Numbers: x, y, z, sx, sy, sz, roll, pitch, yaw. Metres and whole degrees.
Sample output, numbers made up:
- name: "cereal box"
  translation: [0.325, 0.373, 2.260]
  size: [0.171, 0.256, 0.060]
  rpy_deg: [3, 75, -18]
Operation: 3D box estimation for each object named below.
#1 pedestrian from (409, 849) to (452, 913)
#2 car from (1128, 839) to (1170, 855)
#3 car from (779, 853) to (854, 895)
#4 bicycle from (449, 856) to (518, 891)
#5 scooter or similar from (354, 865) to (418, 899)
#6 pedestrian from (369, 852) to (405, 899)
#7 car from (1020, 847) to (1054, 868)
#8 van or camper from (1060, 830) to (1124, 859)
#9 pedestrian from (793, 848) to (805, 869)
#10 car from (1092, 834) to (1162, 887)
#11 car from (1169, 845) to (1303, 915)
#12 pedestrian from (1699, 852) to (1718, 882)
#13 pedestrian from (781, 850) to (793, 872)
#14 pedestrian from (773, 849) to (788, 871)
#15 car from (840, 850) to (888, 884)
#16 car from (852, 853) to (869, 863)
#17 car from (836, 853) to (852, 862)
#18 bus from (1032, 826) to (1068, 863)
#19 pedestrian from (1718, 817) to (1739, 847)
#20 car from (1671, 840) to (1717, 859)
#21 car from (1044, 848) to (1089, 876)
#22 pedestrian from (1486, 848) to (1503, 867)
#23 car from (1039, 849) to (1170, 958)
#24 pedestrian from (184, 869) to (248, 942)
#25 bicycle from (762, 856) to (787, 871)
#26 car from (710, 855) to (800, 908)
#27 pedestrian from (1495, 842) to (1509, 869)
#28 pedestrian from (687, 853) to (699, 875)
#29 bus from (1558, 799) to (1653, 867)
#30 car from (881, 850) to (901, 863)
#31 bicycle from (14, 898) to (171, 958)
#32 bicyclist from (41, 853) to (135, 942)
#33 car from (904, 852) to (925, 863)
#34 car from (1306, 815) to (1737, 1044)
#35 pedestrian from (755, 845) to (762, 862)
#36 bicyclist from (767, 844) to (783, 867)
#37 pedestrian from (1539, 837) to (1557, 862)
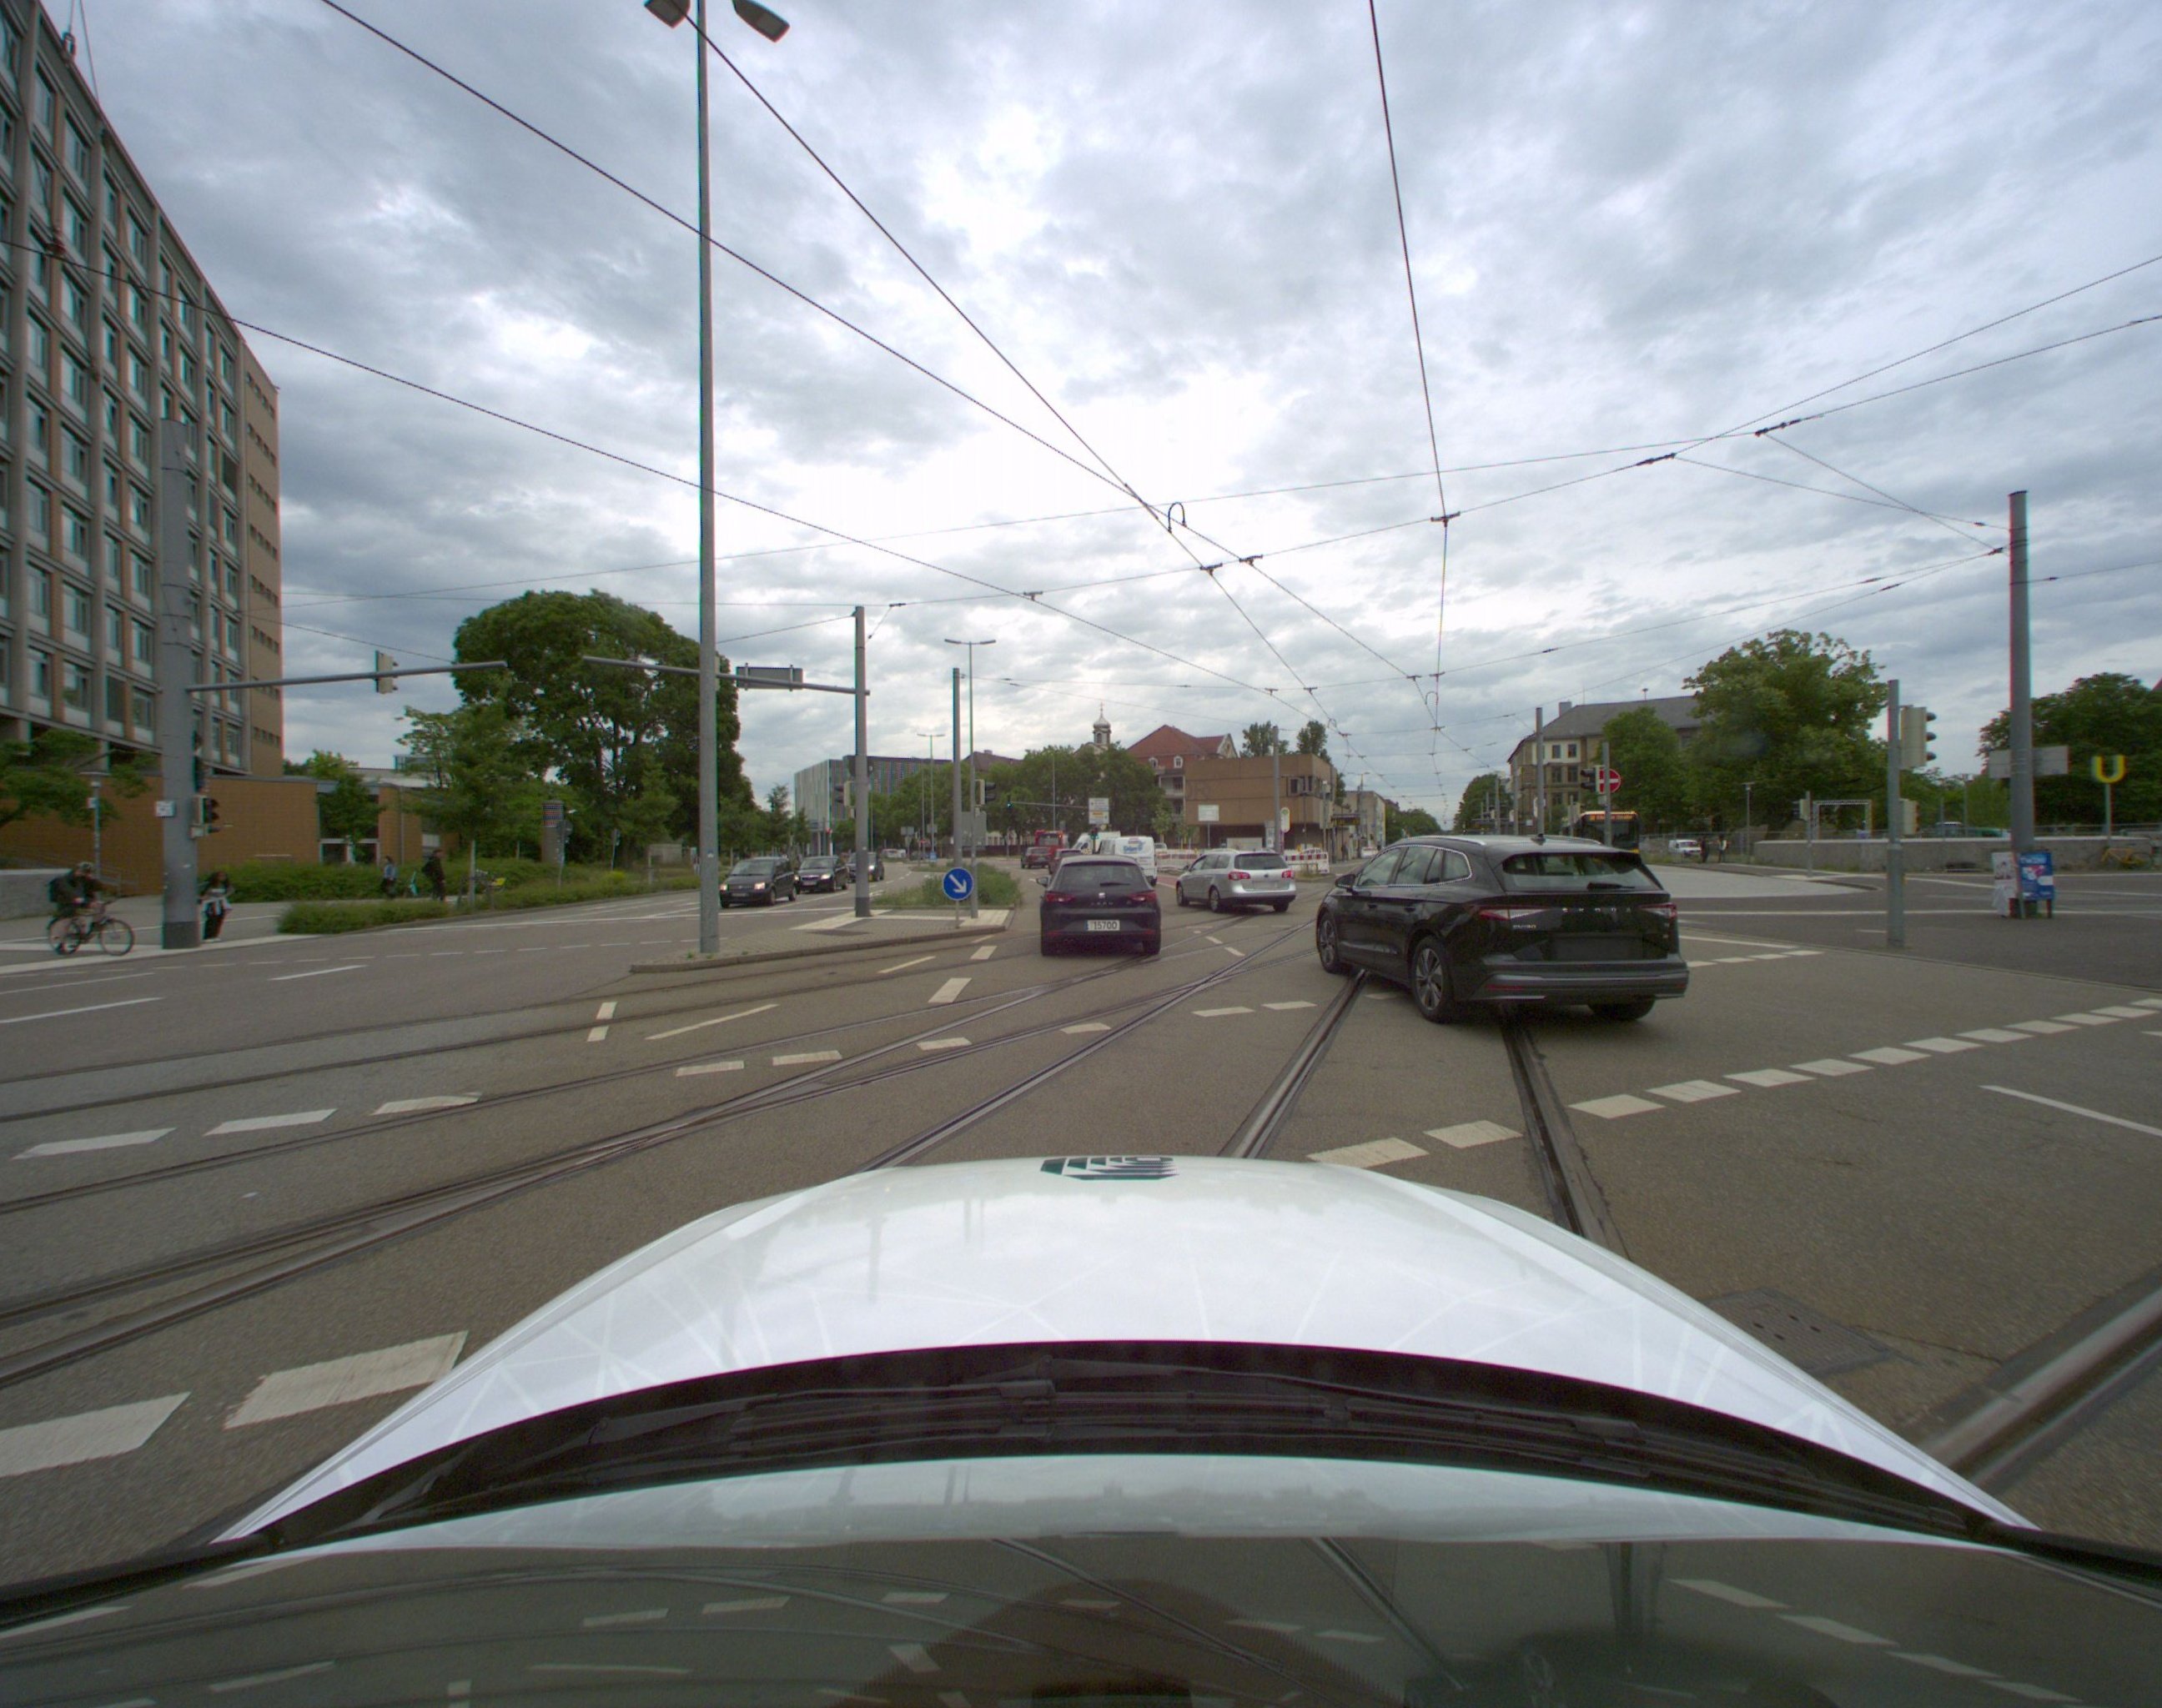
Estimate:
- name: "pedestrian"
  translation: [-20.639, 0.839, 25.855]
  size: [0.816, 1.980, 0.658]
  rpy_deg: [-1, 0, -1]
- name: "car"
  translation: [8.540, -0.820, 102.107]
  size: [5.020, 1.865, 1.980]
  rpy_deg: [0, -3, -31]
- name: "car"
  translation: [-10.704, 0.753, 33.284]
  size: [1.868, 1.508, 4.471]
  rpy_deg: [-3, 0, -5]
- name: "bicycle"
  translation: [-25.095, 0.796, 34.282]
  size: [0.840, 1.449, 2.265]
  rpy_deg: [0, 0, 19]
- name: "scooter or similar"
  translation: [-27.245, 1.087, 31.959]
  size: [1.775, 1.302, 0.626]
  rpy_deg: [0, 0, -18]
- name: "pedestrian"
  translation: [-26.205, 0.788, 30.766]
  size: [0.744, 1.733, 0.686]
  rpy_deg: [-1, 0, -1]
- name: "car"
  translation: [-3.491, 0.266, 63.557]
  size: [1.995, 1.566, 4.187]
  rpy_deg: [0, 0, -12]
- name: "van or camper"
  translation: [1.325, -1.085, 97.936]
  size: [7.175, 3.332, 2.848]
  rpy_deg: [0, -1, -31]
- name: "pedestrian"
  translation: [-24.717, 0.366, 71.313]
  size: [0.893, 1.842, 0.665]
  rpy_deg: [0, 0, -9]
- name: "car"
  translation: [1.799, 0.224, 33.704]
  size: [1.992, 2.019, 5.018]
  rpy_deg: [0, 0, -8]
- name: "car"
  translation: [3.656, 0.563, 20.129]
  size: [1.720, 1.482, 4.612]
  rpy_deg: [-1, 0, -10]
- name: "pedestrian"
  translation: [38.958, 0.783, 50.560]
  size: [0.816, 1.808, 1.027]
  rpy_deg: [0, 0, 29]
- name: "pedestrian"
  translation: [-24.519, 0.595, 67.899]
  size: [0.757, 1.842, 0.764]
  rpy_deg: [-2, 0, -9]
- name: "pedestrian"
  translation: [-25.532, 0.513, 69.229]
  size: [1.048, 1.842, 0.863]
  rpy_deg: [0, 0, -9]
- name: "car"
  translation: [-11.994, 0.672, 45.216]
  size: [1.869, 1.725, 4.701]
  rpy_deg: [-1, 0, -7]
- name: "car"
  translation: [-39.698, 0.711, 146.634]
  size: [2.006, 1.640, 3.962]
  rpy_deg: [-1, 0, -30]
- name: "car"
  translation: [-45.189, 0.748, 155.470]
  size: [2.007, 1.681, 3.971]
  rpy_deg: [-1, 0, -31]
- name: "bus"
  translation: [-2.888, -0.847, 80.227]
  size: [3.048, 3.297, 12.378]
  rpy_deg: [0, 0, 0]
- name: "pedestrian"
  translation: [39.823, -1.346, 50.105]
  size: [0.816, 1.853, 1.027]
  rpy_deg: [0, 0, 29]
- name: "car"
  translation: [55.605, -0.393, 73.981]
  size: [1.895, 1.662, 4.015]
  rpy_deg: [-1, 0, 14]
- name: "car"
  translation: [-0.932, 0.462, 49.898]
  size: [1.861, 1.600, 4.184]
  rpy_deg: [0, 0, -15]
- name: "pedestrian"
  translation: [30.221, 0.232, 59.519]
  size: [1.008, 1.402, 1.014]
  rpy_deg: [0, 0, 30]
- name: "car"
  translation: [0.220, 0.660, 13.030]
  size: [1.742, 1.464, 3.995]
  rpy_deg: [0, 0, -4]
- name: "pedestrian"
  translation: [-19.064, 1.111, 17.967]
  size: [0.577, 1.551, 0.749]
  rpy_deg: [-1, 0, -1]
- name: "bicycle"
  translation: [-24.758, 0.752, 65.818]
  size: [0.782, 1.159, 1.916]
  rpy_deg: [0, 0, 21]
- name: "car"
  translation: [-10.199, 0.812, 25.737]
  size: [1.616, 1.515, 3.658]
  rpy_deg: [-1, 0, -5]
- name: "pedestrian"
  translation: [29.117, 0.114, 56.300]
  size: [0.816, 1.808, 1.027]
  rpy_deg: [0, 0, 29]
- name: "pedestrian"
  translation: [-27.297, 0.705, 57.270]
  size: [0.561, 1.541, 0.753]
  rpy_deg: [0, 0, -10]
- name: "bus"
  translation: [29.163, -1.026, 45.867]
  size: [2.988, 3.268, 13.119]
  rpy_deg: [0, 0, 26]
- name: "car"
  translation: [-30.893, 0.453, 132.258]
  size: [2.006, 2.013, 3.961]
  rpy_deg: [-1, 0, -30]
- name: "bicycle"
  translation: [-19.108, 1.422, 15.768]
  size: [2.104, 1.028, 0.796]
  rpy_deg: [1, -1, 3]
- name: "bicyclist"
  translation: [-19.219, 0.821, 15.772]
  size: [0.809, 1.656, 0.794]
  rpy_deg: [1, 0, 3]
- name: "car"
  translation: [-25.148, 0.515, 122.757]
  size: [1.930, 1.684, 3.961]
  rpy_deg: [-1, 0, -30]
- name: "car"
  translation: [3.849, 0.543, 8.214]
  size: [1.897, 1.658, 4.513]
  rpy_deg: [0, 0, -1]
- name: "pedestrian"
  translation: [-37.320, -0.061, 94.228]
  size: [0.757, 2.013, 1.040]
  rpy_deg: [0, 0, -18]
- name: "bicyclist"
  translation: [-24.752, 0.119, 65.854]
  size: [0.783, 1.844, 0.838]
  rpy_deg: [0, 0, 20]
- name: "pedestrian"
  translation: [30.608, -0.308, 53.366]
  size: [0.995, 1.645, 1.027]
  rpy_deg: [0, 0, 29]
